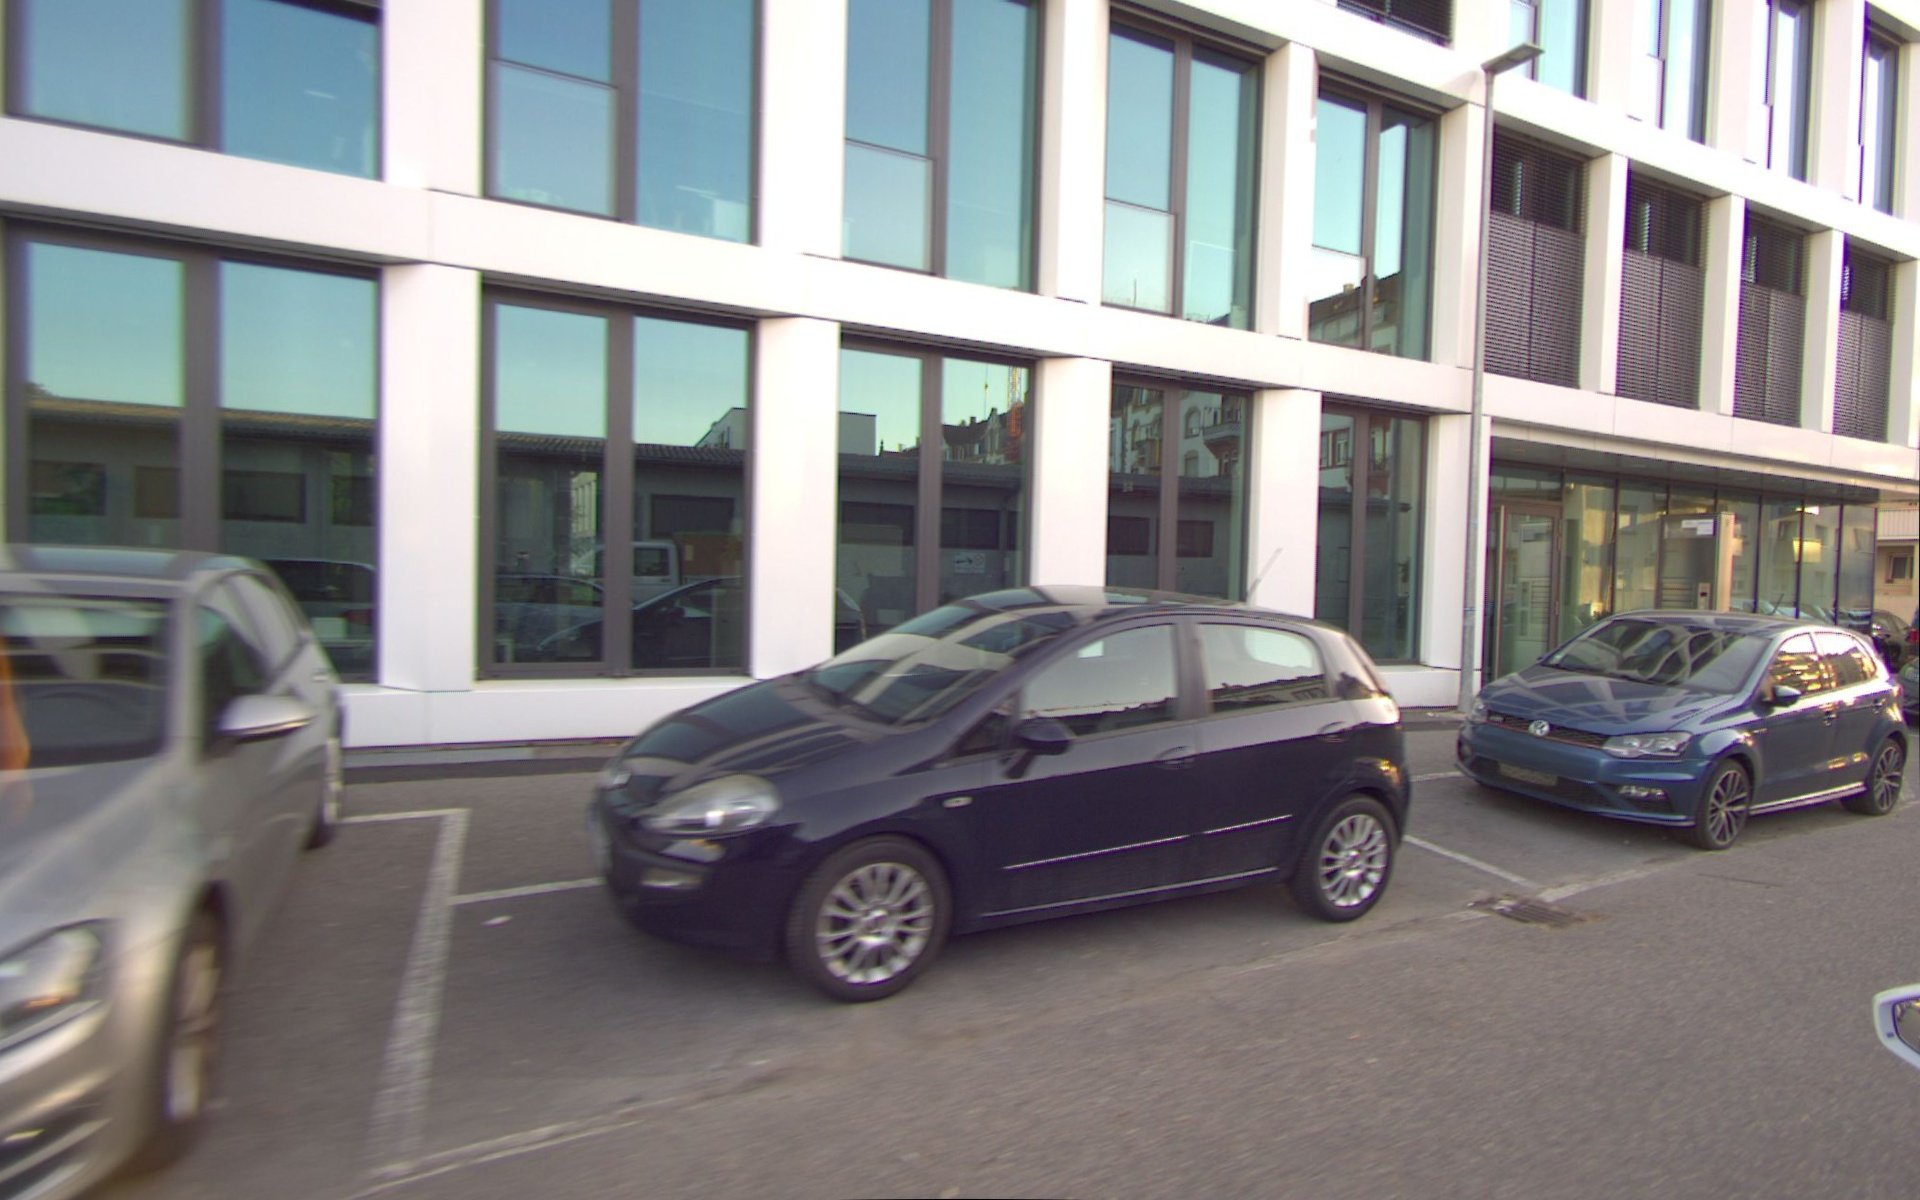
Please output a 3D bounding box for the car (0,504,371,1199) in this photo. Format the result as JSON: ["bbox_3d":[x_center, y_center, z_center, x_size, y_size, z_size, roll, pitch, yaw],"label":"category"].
[{"bbox_3d":[-3.064,0.506,3.220,1.665,1.532,3.913,0,3,-25],"label":"car"}]

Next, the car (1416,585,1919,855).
[{"bbox_3d":[5.551,0.716,7.601,4.135,1.458,1.640,1,5,-30],"label":"car"}]

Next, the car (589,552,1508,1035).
[{"bbox_3d":[0.516,0.608,4.848,4.149,1.458,1.641,1,5,-28],"label":"car"}]

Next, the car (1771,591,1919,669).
[{"bbox_3d":[20.757,0.704,23.074,4.279,1.570,1.772,3,1,-29],"label":"car"}]

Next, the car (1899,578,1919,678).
[{"bbox_3d":[21.460,0.577,20.653,4.632,2.006,1.789,0,2,-29],"label":"car"}]

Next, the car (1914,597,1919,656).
[{"bbox_3d":[28.659,0.759,27.037,1.858,1.640,3.987,-4,4,-30],"label":"car"}]

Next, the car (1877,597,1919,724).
[{"bbox_3d":[13.539,0.798,12.704,4.137,1.499,1.700,0,5,-32],"label":"car"}]
